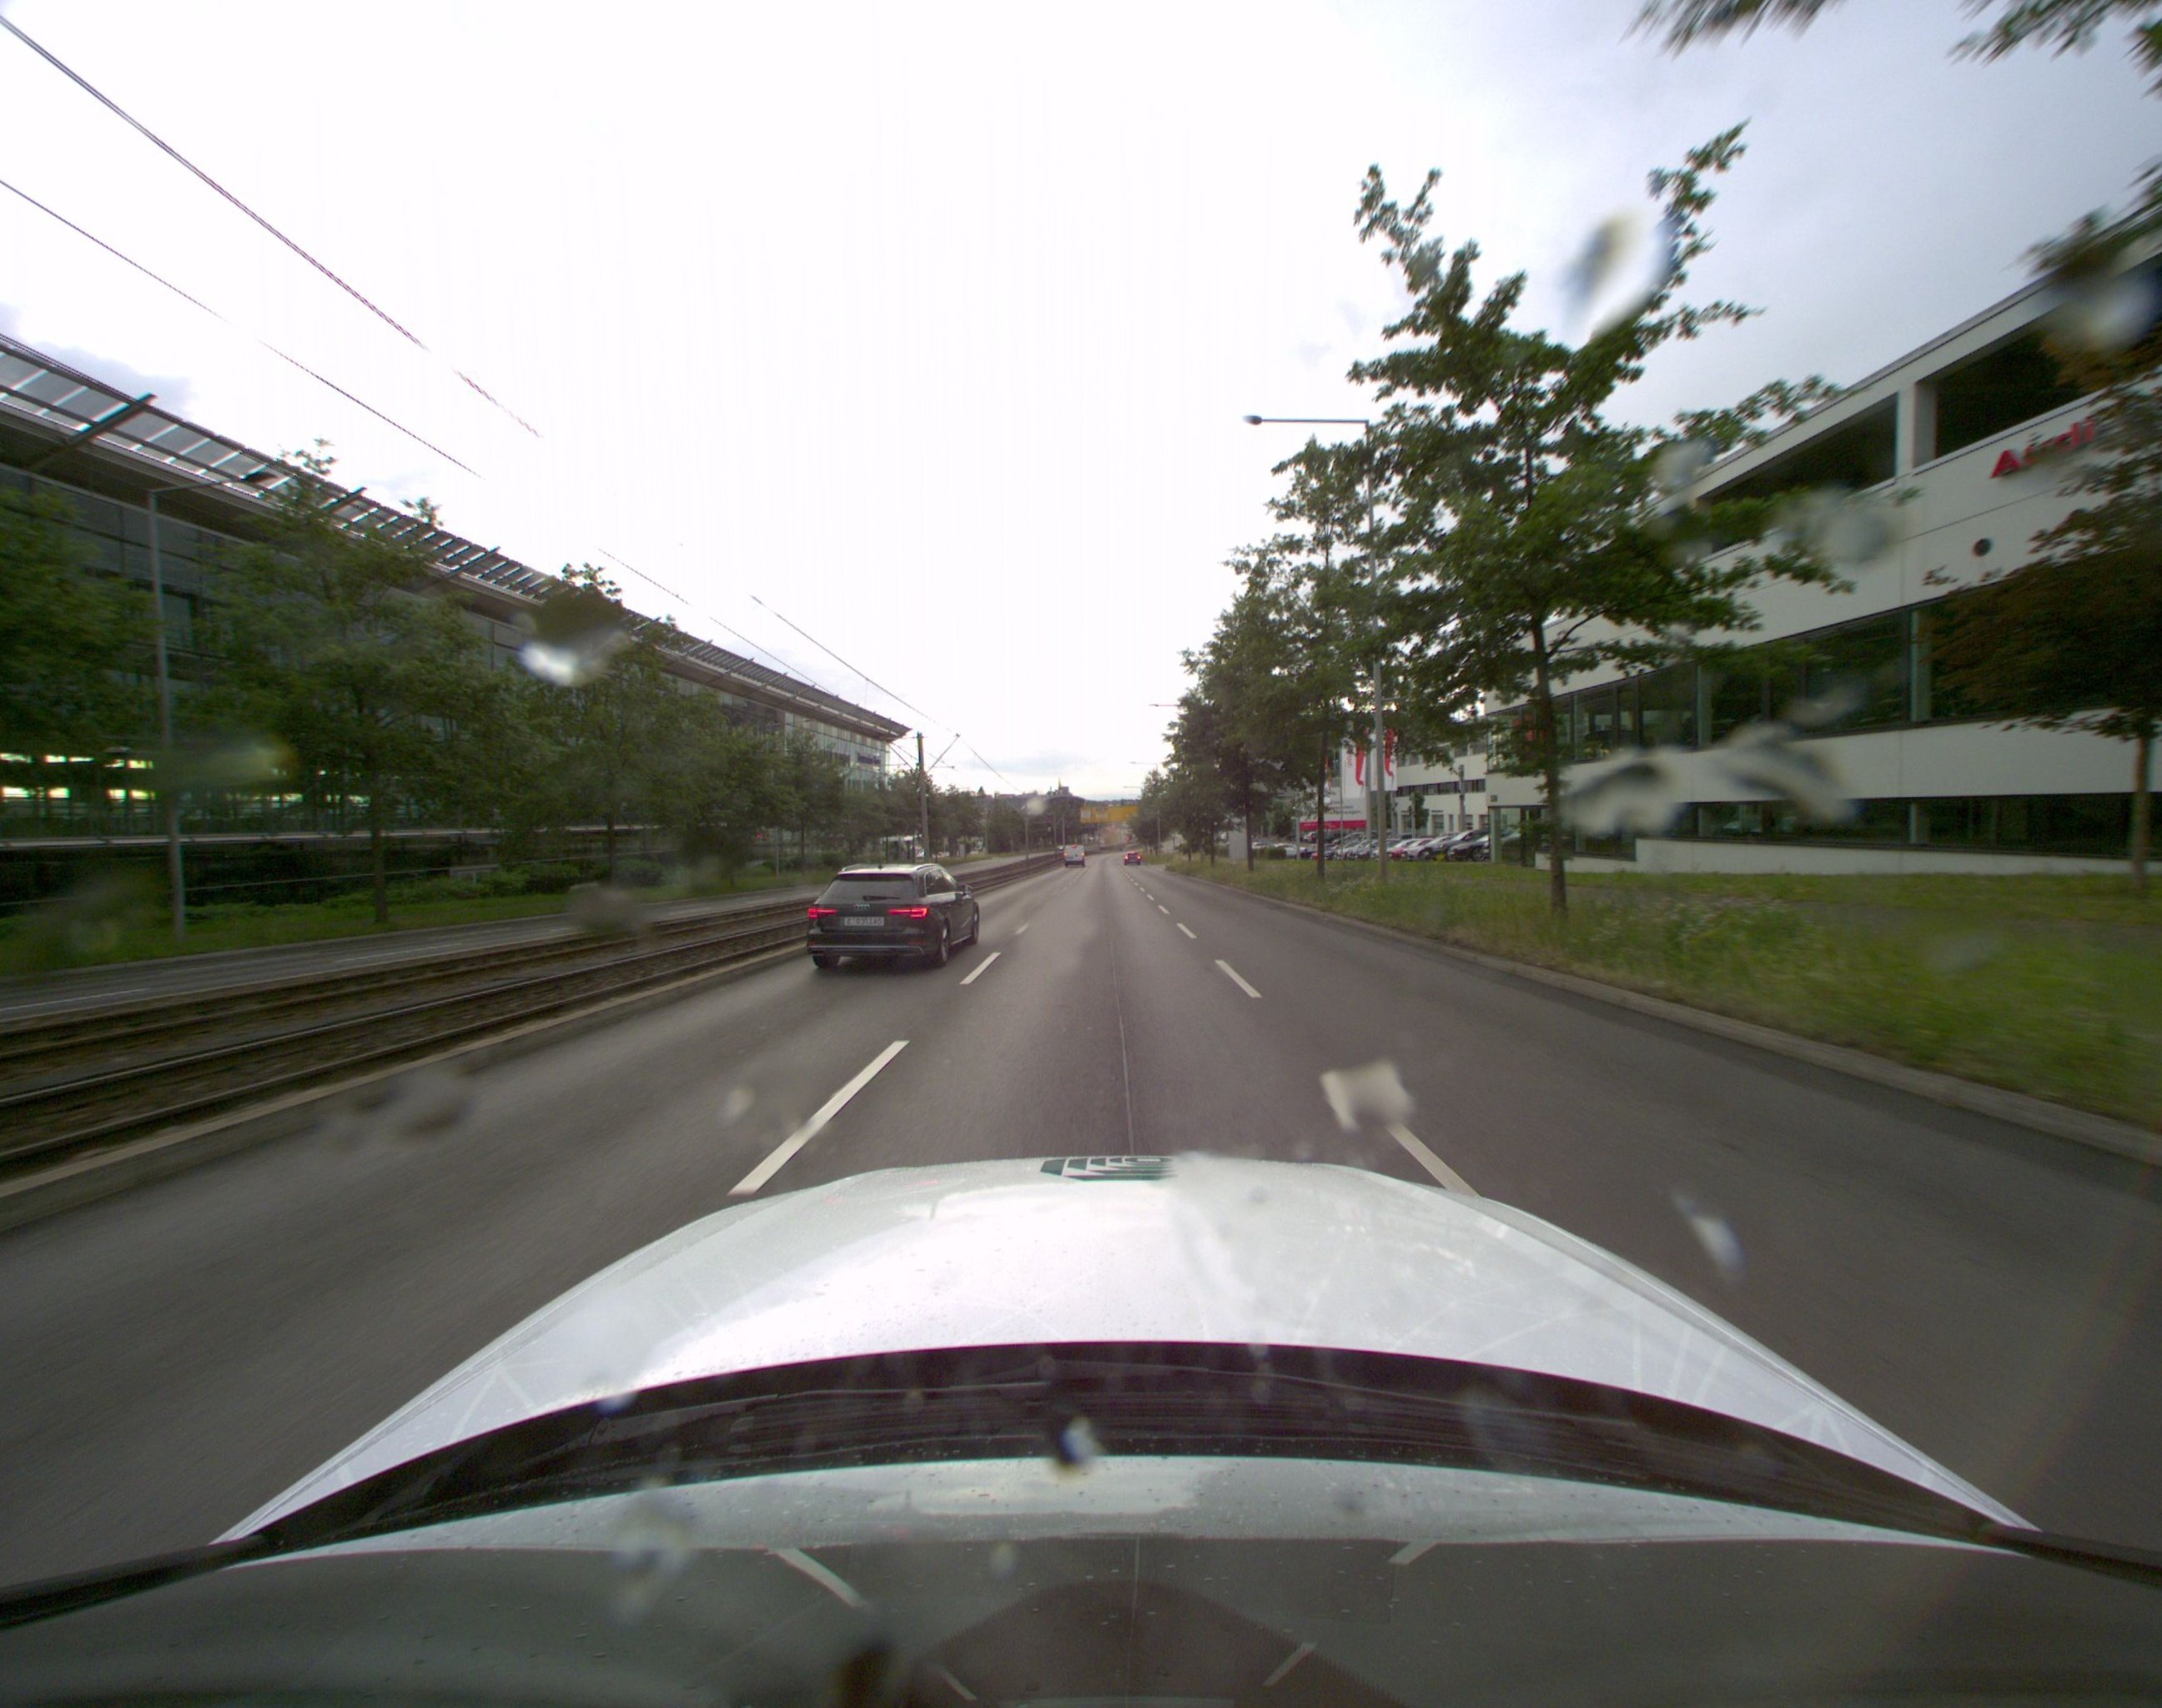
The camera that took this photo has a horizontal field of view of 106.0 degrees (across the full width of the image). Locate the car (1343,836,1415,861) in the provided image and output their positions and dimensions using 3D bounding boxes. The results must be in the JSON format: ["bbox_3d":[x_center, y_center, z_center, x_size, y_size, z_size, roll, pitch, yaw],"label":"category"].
[{"bbox_3d":[21.445,-0.377,58.682,4.446,1.528,1.931,-3,-1,0],"label":"car"}]

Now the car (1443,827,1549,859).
[{"bbox_3d":[20.548,-0.528,40.420,4.307,1.378,1.836,-3,-1,-2],"label":"car"}]

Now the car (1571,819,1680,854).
[{"bbox_3d":[27.335,-0.864,40.954,4.264,1.551,1.826,-3,-1,-1],"label":"car"}]

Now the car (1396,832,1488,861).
[{"bbox_3d":[20.679,-0.420,46.771,4.382,1.427,1.891,-3,-1,1],"label":"car"}]

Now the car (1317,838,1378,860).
[{"bbox_3d":[21.061,-0.363,64.469,4.264,1.593,1.826,-2,-1,-1],"label":"car"}]

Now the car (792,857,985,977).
[{"bbox_3d":[-2.688,0.792,12.539,1.757,1.463,4.628,0,0,1],"label":"car"}]

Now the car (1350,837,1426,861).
[{"bbox_3d":[21.050,-0.332,55.885,4.446,1.456,1.931,-3,-1,0],"label":"car"}]

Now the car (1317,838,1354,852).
[{"bbox_3d":[32.367,-1.131,103.683,4.092,1.574,1.693,-2,1,0],"label":"car"}]

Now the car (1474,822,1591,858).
[{"bbox_3d":[20.917,-0.629,37.851,4.383,1.481,1.931,-2,-1,0],"label":"car"}]

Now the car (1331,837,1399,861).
[{"bbox_3d":[21.482,-0.370,61.665,4.446,1.551,1.931,-3,-1,0],"label":"car"}]

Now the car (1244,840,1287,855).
[{"bbox_3d":[21.238,-0.777,93.937,4.505,1.594,1.692,-2,-1,0],"label":"car"}]

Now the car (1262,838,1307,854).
[{"bbox_3d":[21.008,-0.816,84.186,4.102,1.594,1.943,-1,-1,-7],"label":"car"}]

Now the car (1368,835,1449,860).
[{"bbox_3d":[21.198,-0.383,52.852,4.446,1.456,1.931,-2,-1,0],"label":"car"}]

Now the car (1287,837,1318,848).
[{"bbox_3d":[32.418,-1.633,119.163,4.092,1.574,1.692,-1,1,0],"label":"car"}]

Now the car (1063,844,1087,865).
[{"bbox_3d":[-0.646,0.079,86.646,2.504,2.177,5.147,0,0,-1],"label":"car"}]

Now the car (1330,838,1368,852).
[{"bbox_3d":[32.572,-1.051,98.942,4.092,1.574,1.692,-2,0,0],"label":"car"}]

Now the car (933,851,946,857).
[{"bbox_3d":[-34.113,-0.037,196.186,2.006,1.510,3.962,0,0,-30],"label":"car"}]

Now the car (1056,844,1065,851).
[{"bbox_3d":[-5.239,-1.633,207.990,1.874,1.520,4.408,-4,1,4],"label":"car"}]

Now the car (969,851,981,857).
[{"bbox_3d":[-25.977,-0.043,199.374,2.003,1.510,3.968,0,0,-24],"label":"car"}]

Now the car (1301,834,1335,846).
[{"bbox_3d":[32.448,-1.910,111.591,4.092,1.574,1.692,-1,1,0],"label":"car"}]

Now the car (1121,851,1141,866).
[{"bbox_3d":[5.566,0.527,91.162,2.015,1.623,3.998,0,0,-1],"label":"car"}]

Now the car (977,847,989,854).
[{"bbox_3d":[-22.167,-0.758,184.271,1.983,1.650,4.007,0,0,6],"label":"car"}]

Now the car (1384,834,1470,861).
[{"bbox_3d":[21.029,-0.373,49.658,4.383,1.348,1.931,-3,-1,0],"label":"car"}]

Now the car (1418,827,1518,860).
[{"bbox_3d":[20.729,-0.539,43.806,4.382,1.500,2.040,-3,-1,1],"label":"car"}]

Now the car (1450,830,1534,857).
[{"bbox_3d":[26.557,-0.652,52.662,4.448,1.551,1.930,-2,-1,-1],"label":"car"}]

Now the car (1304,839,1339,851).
[{"bbox_3d":[31.391,-1.182,106.366,4.092,1.574,1.826,-1,1,0],"label":"car"}]

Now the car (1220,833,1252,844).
[{"bbox_3d":[22.609,-2.232,118.936,4.245,1.574,1.692,-1,1,0],"label":"car"}]

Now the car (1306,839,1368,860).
[{"bbox_3d":[21.218,-0.333,67.613,4.452,1.551,1.928,-2,-1,-4],"label":"car"}]
